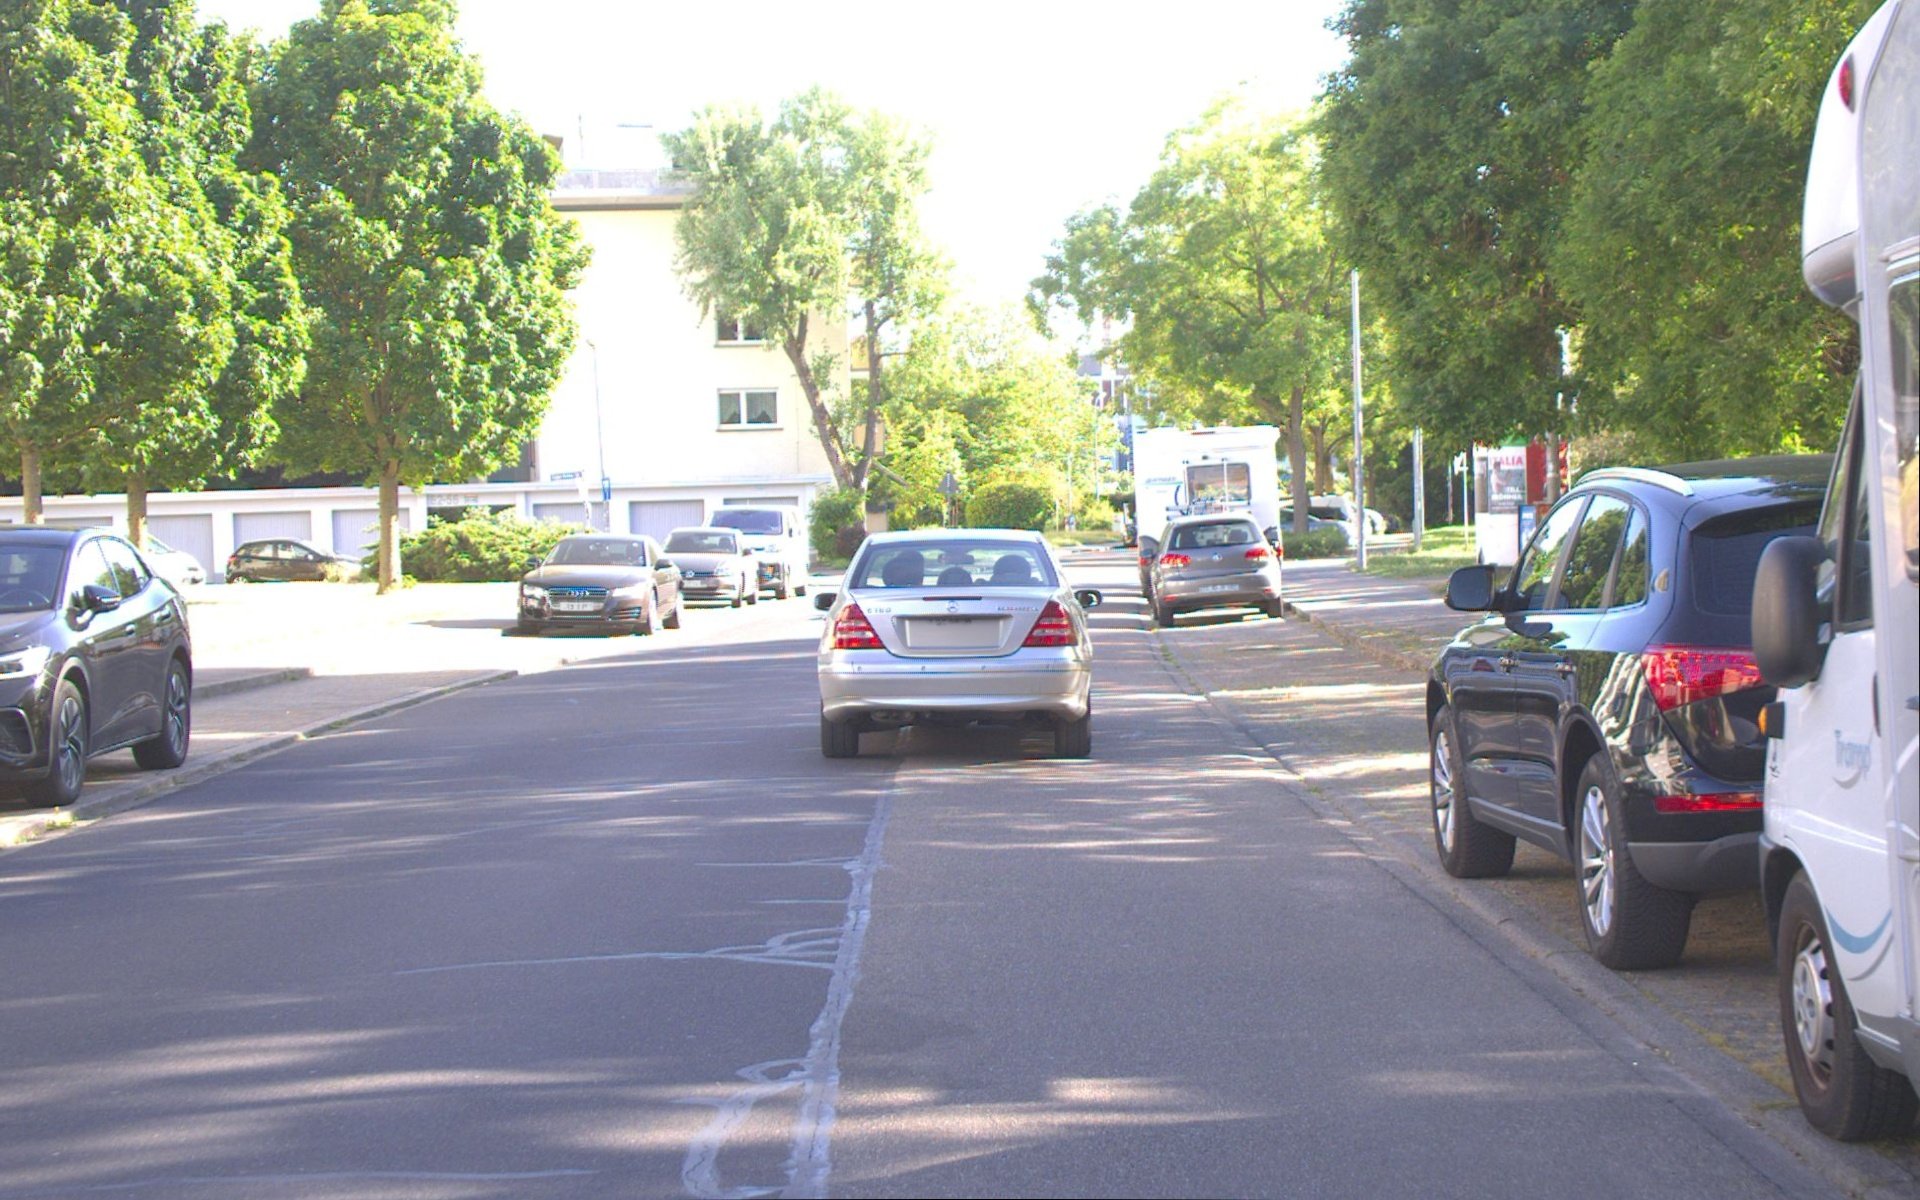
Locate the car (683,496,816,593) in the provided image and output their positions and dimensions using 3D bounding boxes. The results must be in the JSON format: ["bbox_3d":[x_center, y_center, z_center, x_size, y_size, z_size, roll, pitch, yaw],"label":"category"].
[{"bbox_3d":[-4.200,-1.145,69.318,2.014,1.879,5.190,0,1,4],"label":"car"}]

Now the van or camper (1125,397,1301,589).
[{"bbox_3d":[4.046,-1.745,56.121,2.496,2.835,6.851,-2,2,2],"label":"van or camper"}]

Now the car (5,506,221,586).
[{"bbox_3d":[-22.816,-1.459,92.680,5.108,1.944,2.236,-2,2,11],"label":"car"}]

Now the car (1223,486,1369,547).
[{"bbox_3d":[11.789,-2.948,120.787,4.884,1.917,2.000,-2,2,1],"label":"car"}]

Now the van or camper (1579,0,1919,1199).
[{"bbox_3d":[2.972,-0.032,6.045,2.351,2.587,6.426,-5,2,0],"label":"van or camper"}]

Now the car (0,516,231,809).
[{"bbox_3d":[-5.962,0.318,21.254,1.914,1.598,4.813,-2,1,-1],"label":"car"}]

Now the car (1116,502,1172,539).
[{"bbox_3d":[8.266,-3.571,153.963,1.914,1.485,3.835,-4,1,11],"label":"car"}]

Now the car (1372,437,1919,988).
[{"bbox_3d":[2.945,0.252,12.850,1.993,1.634,4.537,-4,2,-2],"label":"car"}]

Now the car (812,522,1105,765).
[{"bbox_3d":[-0.026,0.233,22.113,1.733,1.429,3.438,0,1,-1],"label":"car"}]

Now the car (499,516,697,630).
[{"bbox_3d":[-5.170,-0.429,49.793,2.035,1.487,5.256,-2,2,3],"label":"car"}]

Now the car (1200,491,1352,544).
[{"bbox_3d":[10.184,-2.657,110.828,4.783,1.543,2.011,-2,2,6],"label":"car"}]

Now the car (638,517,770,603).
[{"bbox_3d":[-4.637,-0.761,62.844,1.833,1.513,4.221,0,1,4],"label":"car"}]

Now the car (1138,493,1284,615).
[{"bbox_3d":[3.534,-0.699,49.052,1.720,1.519,4.429,-5,2,1],"label":"car"}]
